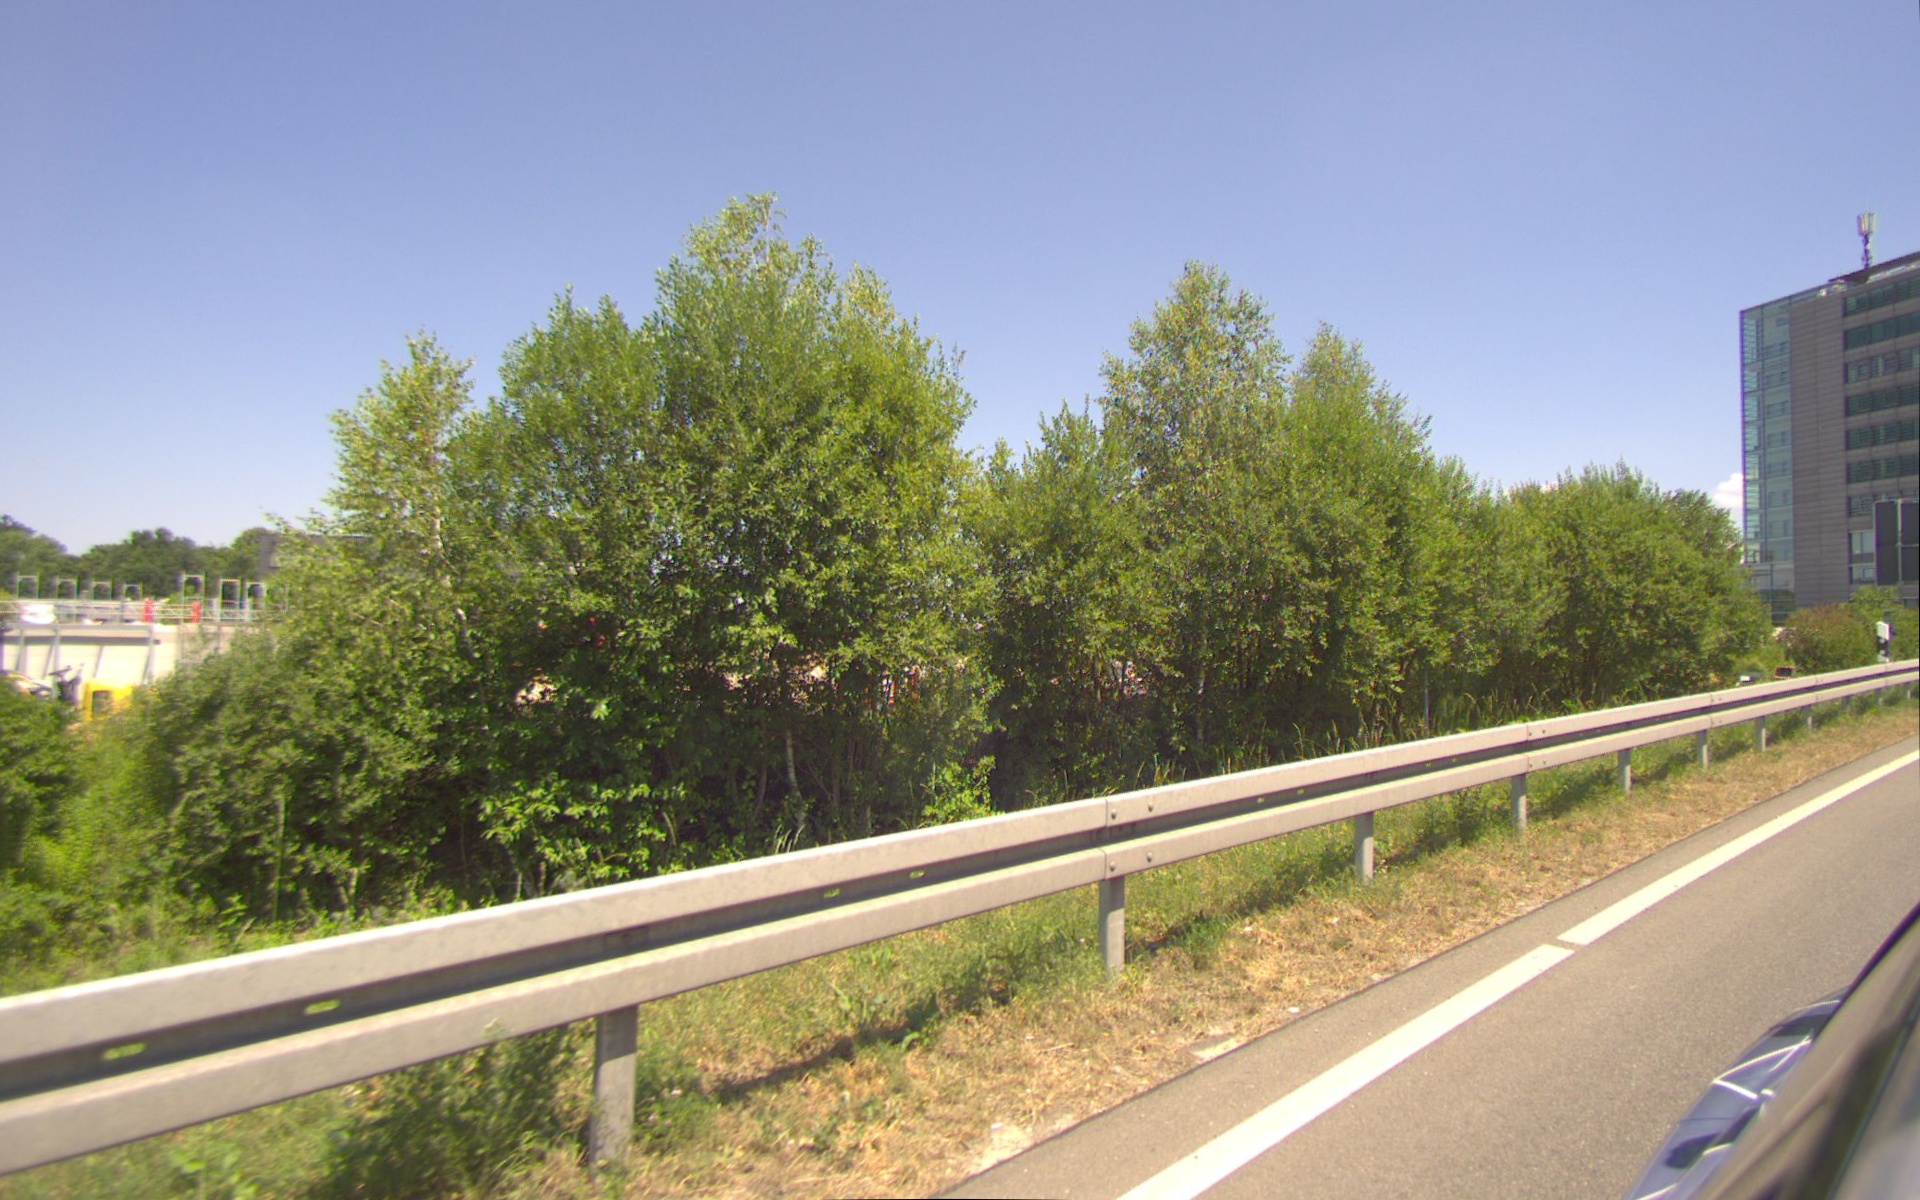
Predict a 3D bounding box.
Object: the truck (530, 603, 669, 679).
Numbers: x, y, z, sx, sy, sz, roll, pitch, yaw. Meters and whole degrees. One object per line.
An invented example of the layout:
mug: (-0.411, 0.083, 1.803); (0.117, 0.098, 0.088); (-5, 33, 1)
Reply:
truck: (-19.164, 2.255, 54.695); (3.078, 3.733, 9.394); (1, -3, 7)
